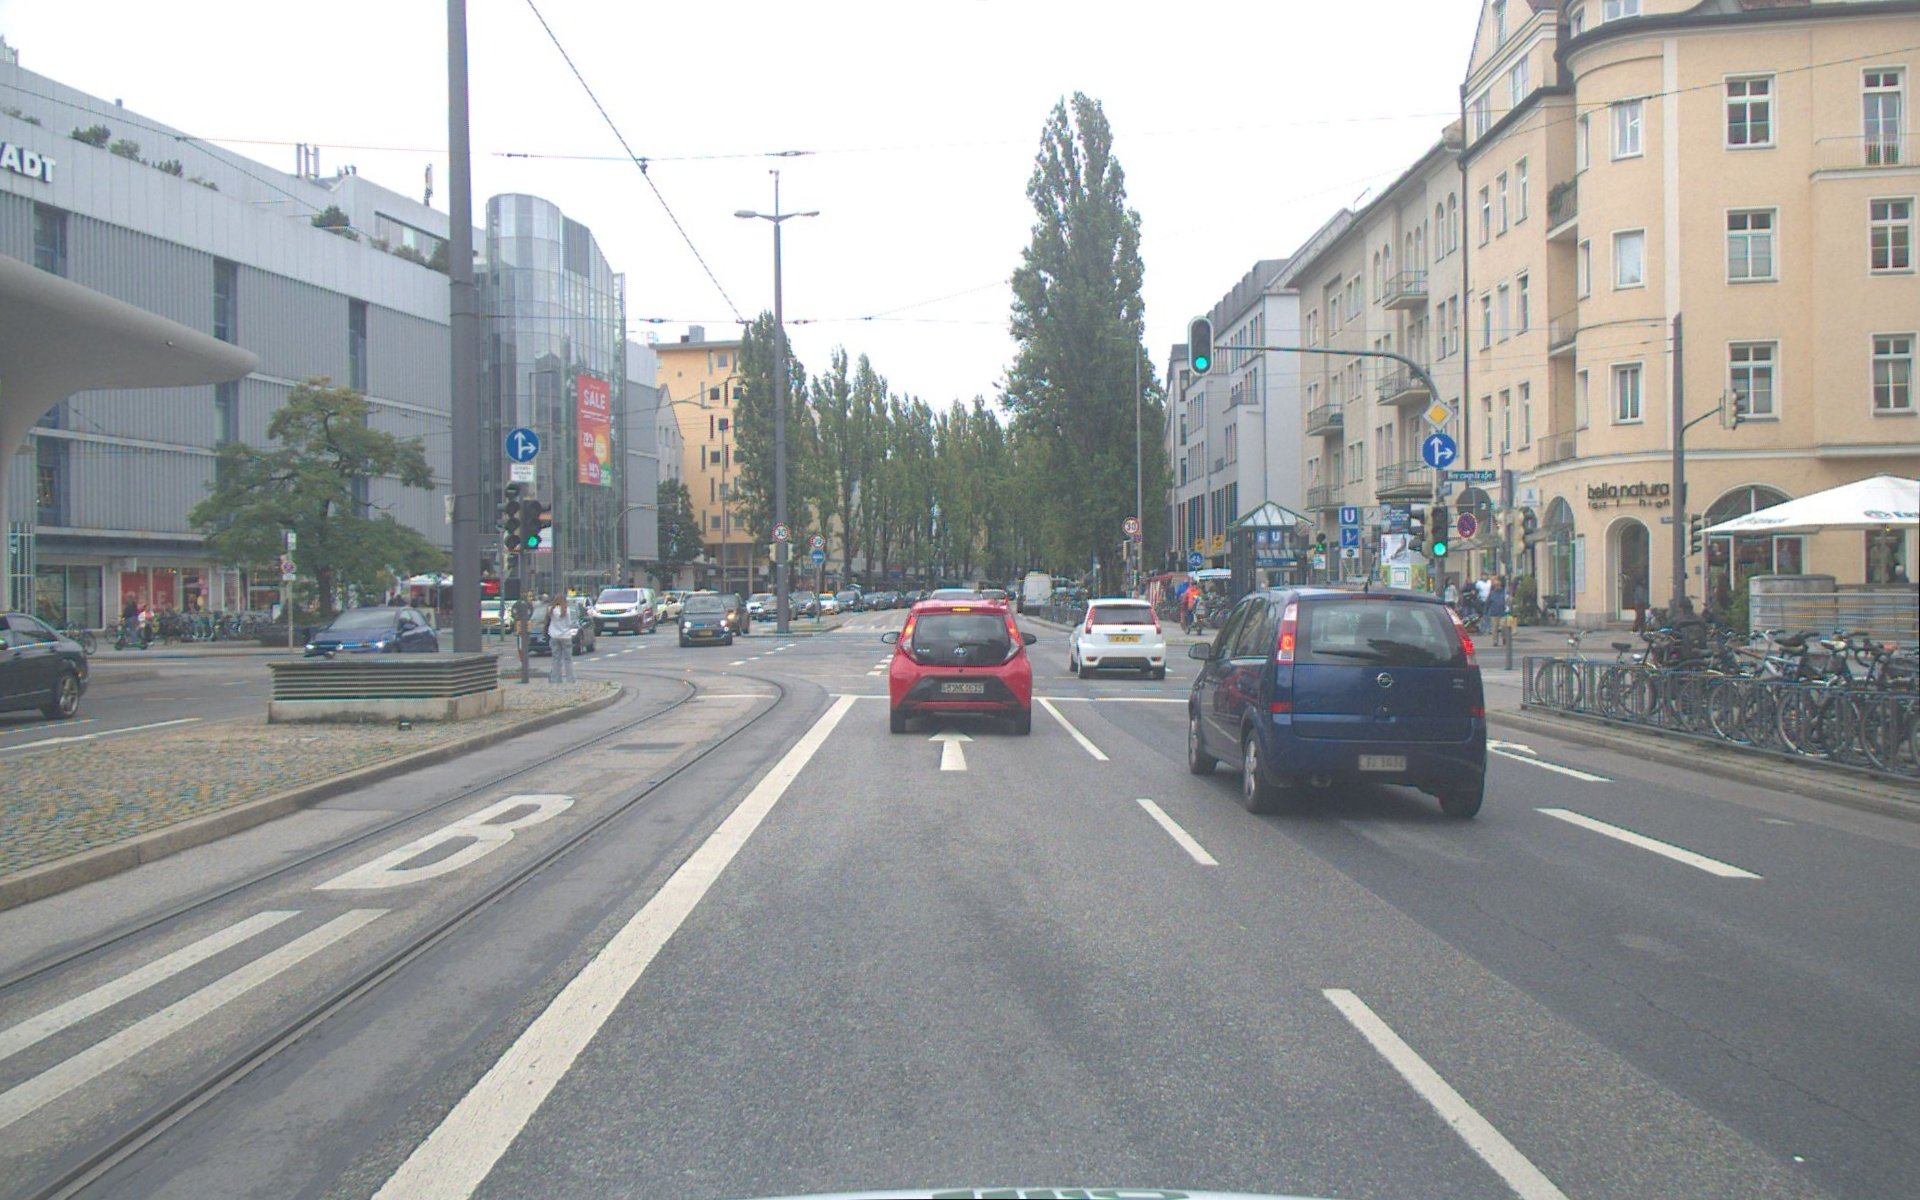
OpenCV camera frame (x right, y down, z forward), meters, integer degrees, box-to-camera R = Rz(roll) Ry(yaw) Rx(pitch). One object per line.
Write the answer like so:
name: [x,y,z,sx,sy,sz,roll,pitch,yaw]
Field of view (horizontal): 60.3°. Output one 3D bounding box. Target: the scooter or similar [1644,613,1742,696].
scooter or similar: [10.180,0.746,23.018,0.760,1.094,1.256,-1,0,-2]

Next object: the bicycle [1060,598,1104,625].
bicycle: [5.170,0.471,70.182,1.769,1.130,0.649,0,0,37]

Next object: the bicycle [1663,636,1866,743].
bicycle: [8.079,0.883,16.672,1.810,1.013,0.346,-2,0,43]

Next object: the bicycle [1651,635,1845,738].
bicycle: [8.183,0.882,17.241,0.345,1.013,1.812,-1,0,-44]

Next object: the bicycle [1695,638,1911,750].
bicycle: [8.099,0.887,15.955,1.810,1.013,0.346,-2,0,43]

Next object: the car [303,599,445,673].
car: [-12.377,0.723,35.184,1.644,1.420,4.231,-2,0,-3]

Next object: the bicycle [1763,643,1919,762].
bicycle: [8.120,0.895,14.603,1.807,1.013,0.346,-2,0,39]

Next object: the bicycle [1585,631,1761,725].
bicycle: [8.051,0.870,18.746,1.811,1.013,0.345,-2,0,44]

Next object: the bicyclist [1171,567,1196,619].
bicyclist: [8.223,-0.254,60.984,0.747,1.902,1.133,-1,0,0]

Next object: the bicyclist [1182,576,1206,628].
bicyclist: [7.737,0.054,54.694,0.601,1.686,1.251,-1,0,0]

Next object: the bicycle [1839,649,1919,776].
bicycle: [8.102,0.902,13.264,1.807,1.013,0.346,-2,0,39]

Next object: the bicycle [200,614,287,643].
bicycle: [-30.715,1.204,70.933,3.419,1.177,1.061,-1,0,12]

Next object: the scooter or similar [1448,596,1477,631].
scooter or similar: [15.064,0.406,49.569,0.803,1.011,0.593,0,4,22]

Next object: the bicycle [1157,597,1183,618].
bicycle: [9.929,0.356,78.212,1.234,0.980,0.369,-1,0,9]

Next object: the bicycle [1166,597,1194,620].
bicycle: [9.889,0.389,74.388,1.157,0.980,0.369,-1,0,-2]

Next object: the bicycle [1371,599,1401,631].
bicycle: [13.638,0.462,52.983,0.484,0.992,1.866,-1,0,0]

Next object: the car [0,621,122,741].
car: [-12.498,1.031,20.815,1.639,1.402,4.612,-2,0,-2]

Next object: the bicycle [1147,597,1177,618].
bicycle: [9.801,0.344,80.183,1.401,0.980,0.369,-1,0,5]

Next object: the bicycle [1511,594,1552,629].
bicycle: [18.538,0.373,53.677,0.485,1.108,1.864,-1,0,-6]

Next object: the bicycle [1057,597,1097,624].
bicycle: [5.117,0.459,72.258,1.772,1.130,0.559,0,0,42]

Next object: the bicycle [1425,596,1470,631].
bicycle: [15.684,0.429,53.277,0.486,1.077,1.858,-1,0,-15]

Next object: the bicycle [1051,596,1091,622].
bicycle: [5.029,0.410,75.013,1.805,1.188,0.583,0,0,43]

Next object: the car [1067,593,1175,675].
car: [3.032,0.612,31.713,1.665,1.451,3.496,-1,0,-1]

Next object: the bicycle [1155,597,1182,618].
bicycle: [9.919,0.348,78.695,1.235,0.980,0.369,-1,0,2]

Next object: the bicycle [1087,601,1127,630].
bicycle: [5.509,0.566,61.886,0.495,1.046,1.576,-1,0,-42]

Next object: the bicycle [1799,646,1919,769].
bicycle: [8.107,0.899,13.937,1.807,1.013,0.346,-2,0,39]

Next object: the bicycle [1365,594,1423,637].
bicycle: [12.713,0.452,48.494,1.536,1.180,0.525,-2,2,2]

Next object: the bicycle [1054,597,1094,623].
bicycle: [5.076,0.450,73.685,1.773,1.130,0.583,0,0,43]

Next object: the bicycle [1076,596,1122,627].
bicycle: [5.419,0.451,64.621,1.770,1.178,0.546,0,0,38]

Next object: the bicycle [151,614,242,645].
bicycle: [-31.335,1.206,67.858,3.419,1.177,1.061,-1,0,12]

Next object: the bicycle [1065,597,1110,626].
bicycle: [5.262,0.461,68.122,1.768,1.178,0.650,0,0,36]

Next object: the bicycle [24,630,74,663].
bicycle: [-29.310,1.497,53.258,0.516,1.015,1.986,-1,-2,0]

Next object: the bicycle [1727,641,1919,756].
bicycle: [8.107,0.891,15.290,1.810,1.013,0.346,-2,0,43]

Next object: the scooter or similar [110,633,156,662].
scooter or similar: [-29.247,1.679,58.496,1.372,0.999,0.414,-1,0,-5]

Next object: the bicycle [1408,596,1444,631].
bicycle: [14.911,0.419,52.994,0.485,1.077,1.864,-1,0,-5]

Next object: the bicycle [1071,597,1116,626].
bicycle: [5.380,0.460,66.746,1.765,1.178,0.486,-1,0,30]

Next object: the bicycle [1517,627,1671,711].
bicycle: [7.987,0.856,20.901,1.811,1.013,0.345,-2,0,44]

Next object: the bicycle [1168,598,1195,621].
bicycle: [9.898,0.411,73.845,1.156,0.980,0.369,-1,0,3]

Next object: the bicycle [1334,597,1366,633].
bicycle: [12.482,0.463,52.984,0.555,1.127,1.866,-1,0,0]

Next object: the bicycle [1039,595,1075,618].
bicycle: [4.898,0.322,83.621,1.801,1.156,0.584,0,0,36]

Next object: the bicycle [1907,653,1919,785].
bicycle: [8.207,0.910,12.458,1.807,1.013,0.346,-2,0,39]

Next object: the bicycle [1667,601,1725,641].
bicycle: [19.806,0.564,44.513,1.552,1.051,0.356,-1,0,-15]

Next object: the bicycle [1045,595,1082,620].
bicycle: [5.013,0.364,79.934,1.805,1.156,0.583,0,0,43]

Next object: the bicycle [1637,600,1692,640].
bicycle: [19.320,0.547,45.367,1.552,1.051,0.247,-1,0,-15]

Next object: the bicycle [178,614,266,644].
bicycle: [-31.003,1.205,69.496,3.419,1.177,1.061,-1,0,12]

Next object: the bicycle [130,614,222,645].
bicycle: [-31.577,1.207,66.642,3.419,1.177,1.061,-1,0,12]

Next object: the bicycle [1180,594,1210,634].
bicycle: [7.738,0.443,54.574,0.601,1.287,2.520,-1,1,0]

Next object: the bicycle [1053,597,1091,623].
bicycle: [5.016,0.445,74.349,1.773,1.130,0.488,0,0,43]

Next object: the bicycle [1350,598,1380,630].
bicycle: [12.973,0.445,52.971,0.484,0.992,1.866,-1,0,0]

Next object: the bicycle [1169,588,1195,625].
bicycle: [8.180,0.223,60.904,0.601,1.287,2.520,-1,1,0]
